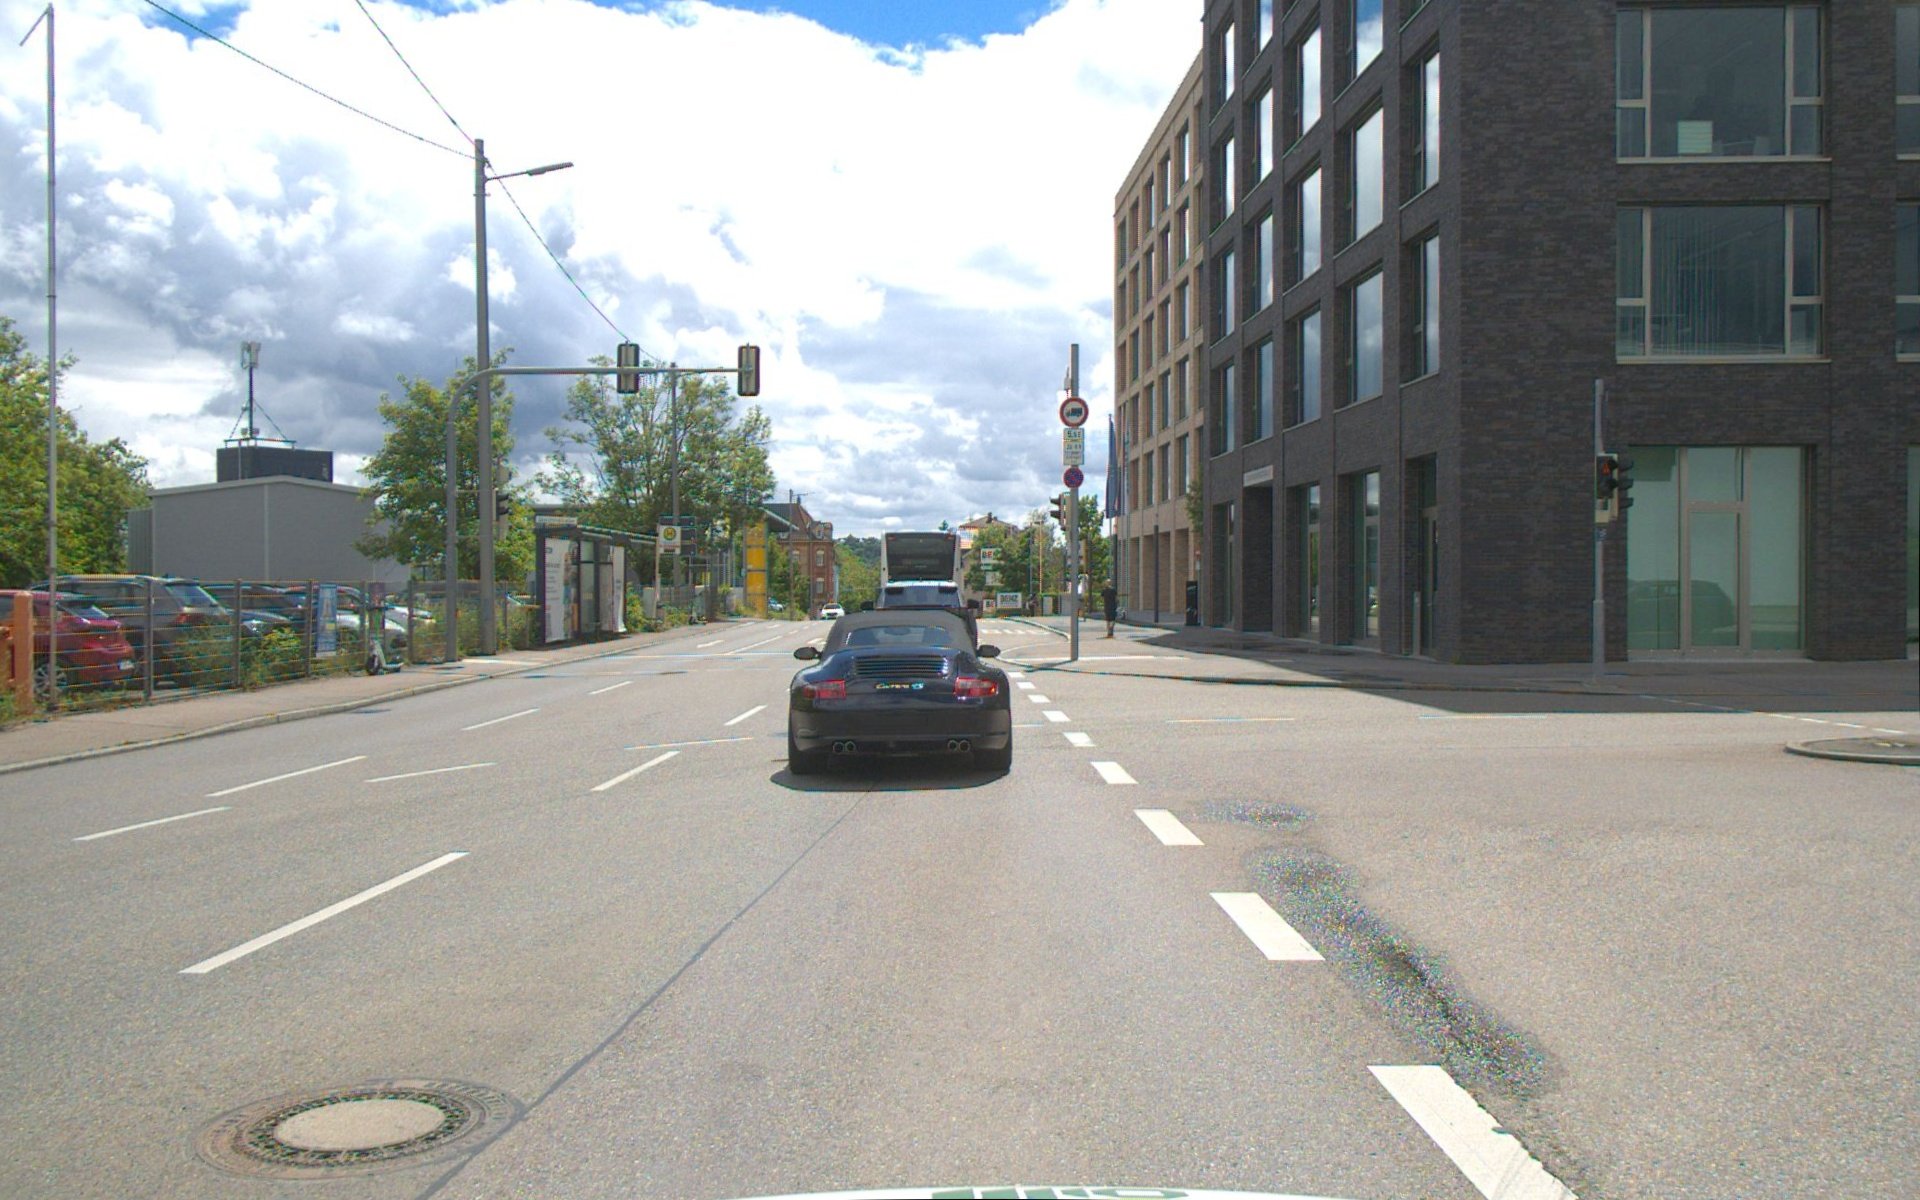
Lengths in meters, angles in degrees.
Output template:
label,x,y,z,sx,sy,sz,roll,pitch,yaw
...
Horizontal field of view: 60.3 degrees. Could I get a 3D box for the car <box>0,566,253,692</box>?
label,x,y,z,sx,sy,sz,roll,pitch,yaw
car,-12.985,0.412,24.676,4.023,1.765,1.998,-1,0,-6

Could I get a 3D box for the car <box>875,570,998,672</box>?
label,x,y,z,sx,sy,sz,roll,pitch,yaw
car,-0.472,0.315,28.293,1.892,1.610,4.205,0,0,-4

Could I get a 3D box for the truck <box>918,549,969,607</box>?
label,x,y,z,sx,sy,sz,roll,pitch,yaw
truck,-0.985,-1.211,92.413,2.659,3.108,7.710,-1,0,-2

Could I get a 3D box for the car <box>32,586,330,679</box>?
label,x,y,z,sx,sy,sz,roll,pitch,yaw
car,-12.983,0.517,27.774,4.020,1.443,1.999,-1,0,-2

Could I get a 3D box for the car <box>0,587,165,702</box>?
label,x,y,z,sx,sy,sz,roll,pitch,yaw
car,-12.851,0.574,21.902,3.782,1.443,1.898,-1,0,-10

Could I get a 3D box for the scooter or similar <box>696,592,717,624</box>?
label,x,y,z,sx,sy,sz,roll,pitch,yaw
scooter or similar,-10.314,0.319,67.309,0.523,1.288,1.472,1,0,3

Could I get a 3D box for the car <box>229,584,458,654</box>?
label,x,y,z,sx,sy,sz,roll,pitch,yaw
car,-13.406,0.389,36.172,4.222,1.443,2.025,-1,0,0

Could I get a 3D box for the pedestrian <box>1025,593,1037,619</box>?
label,x,y,z,sx,sy,sz,roll,pitch,yaw
pedestrian,4.202,0.364,97.922,0.673,1.563,0.856,-1,-1,-2

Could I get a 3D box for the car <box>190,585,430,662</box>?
label,x,y,z,sx,sy,sz,roll,pitch,yaw
car,-12.949,0.455,33.145,4.019,1.443,1.916,-1,0,-1

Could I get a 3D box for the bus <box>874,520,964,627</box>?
label,x,y,z,sx,sy,sz,roll,pitch,yaw
bus,-1.281,-0.887,56.844,2.745,3.253,12.195,0,1,0

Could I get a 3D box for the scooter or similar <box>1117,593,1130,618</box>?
label,x,y,z,sx,sy,sz,roll,pitch,yaw
scooter or similar,7.562,0.256,76.584,0.418,1.173,1.403,-1,0,-2

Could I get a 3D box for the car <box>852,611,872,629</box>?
label,x,y,z,sx,sy,sz,roll,pitch,yaw
car,-8.963,1.822,151.372,1.793,1.535,4.273,-1,-1,-4

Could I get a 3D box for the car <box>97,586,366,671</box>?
label,x,y,z,sx,sy,sz,roll,pitch,yaw
car,-13.197,0.494,30.177,4.022,1.443,1.998,-1,0,-5

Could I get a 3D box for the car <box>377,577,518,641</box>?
label,x,y,z,sx,sy,sz,roll,pitch,yaw
car,-17.102,0.303,55.400,4.197,2.049,2.137,-1,0,-9

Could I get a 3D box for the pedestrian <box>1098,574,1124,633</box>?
label,x,y,z,sx,sy,sz,roll,pitch,yaw
pedestrian,4.544,0.097,49.816,0.669,1.758,0.962,0,0,-2

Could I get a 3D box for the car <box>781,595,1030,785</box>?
label,x,y,z,sx,sy,sz,roll,pitch,yaw
car,-0.439,0.677,14.652,1.891,1.401,4.207,0,1,-1

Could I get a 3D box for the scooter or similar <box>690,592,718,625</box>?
label,x,y,z,sx,sy,sz,roll,pitch,yaw
scooter or similar,-10.183,0.334,65.815,0.523,1.284,1.472,1,0,15

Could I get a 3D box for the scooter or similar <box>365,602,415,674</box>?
label,x,y,z,sx,sy,sz,roll,pitch,yaw
scooter or similar,-9.959,0.652,28.938,0.415,1.232,1.126,1,0,3

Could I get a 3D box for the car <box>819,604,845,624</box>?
label,x,y,z,sx,sy,sz,roll,pitch,yaw
car,-9.725,1.054,126.127,1.760,1.400,4.223,-2,1,-2
